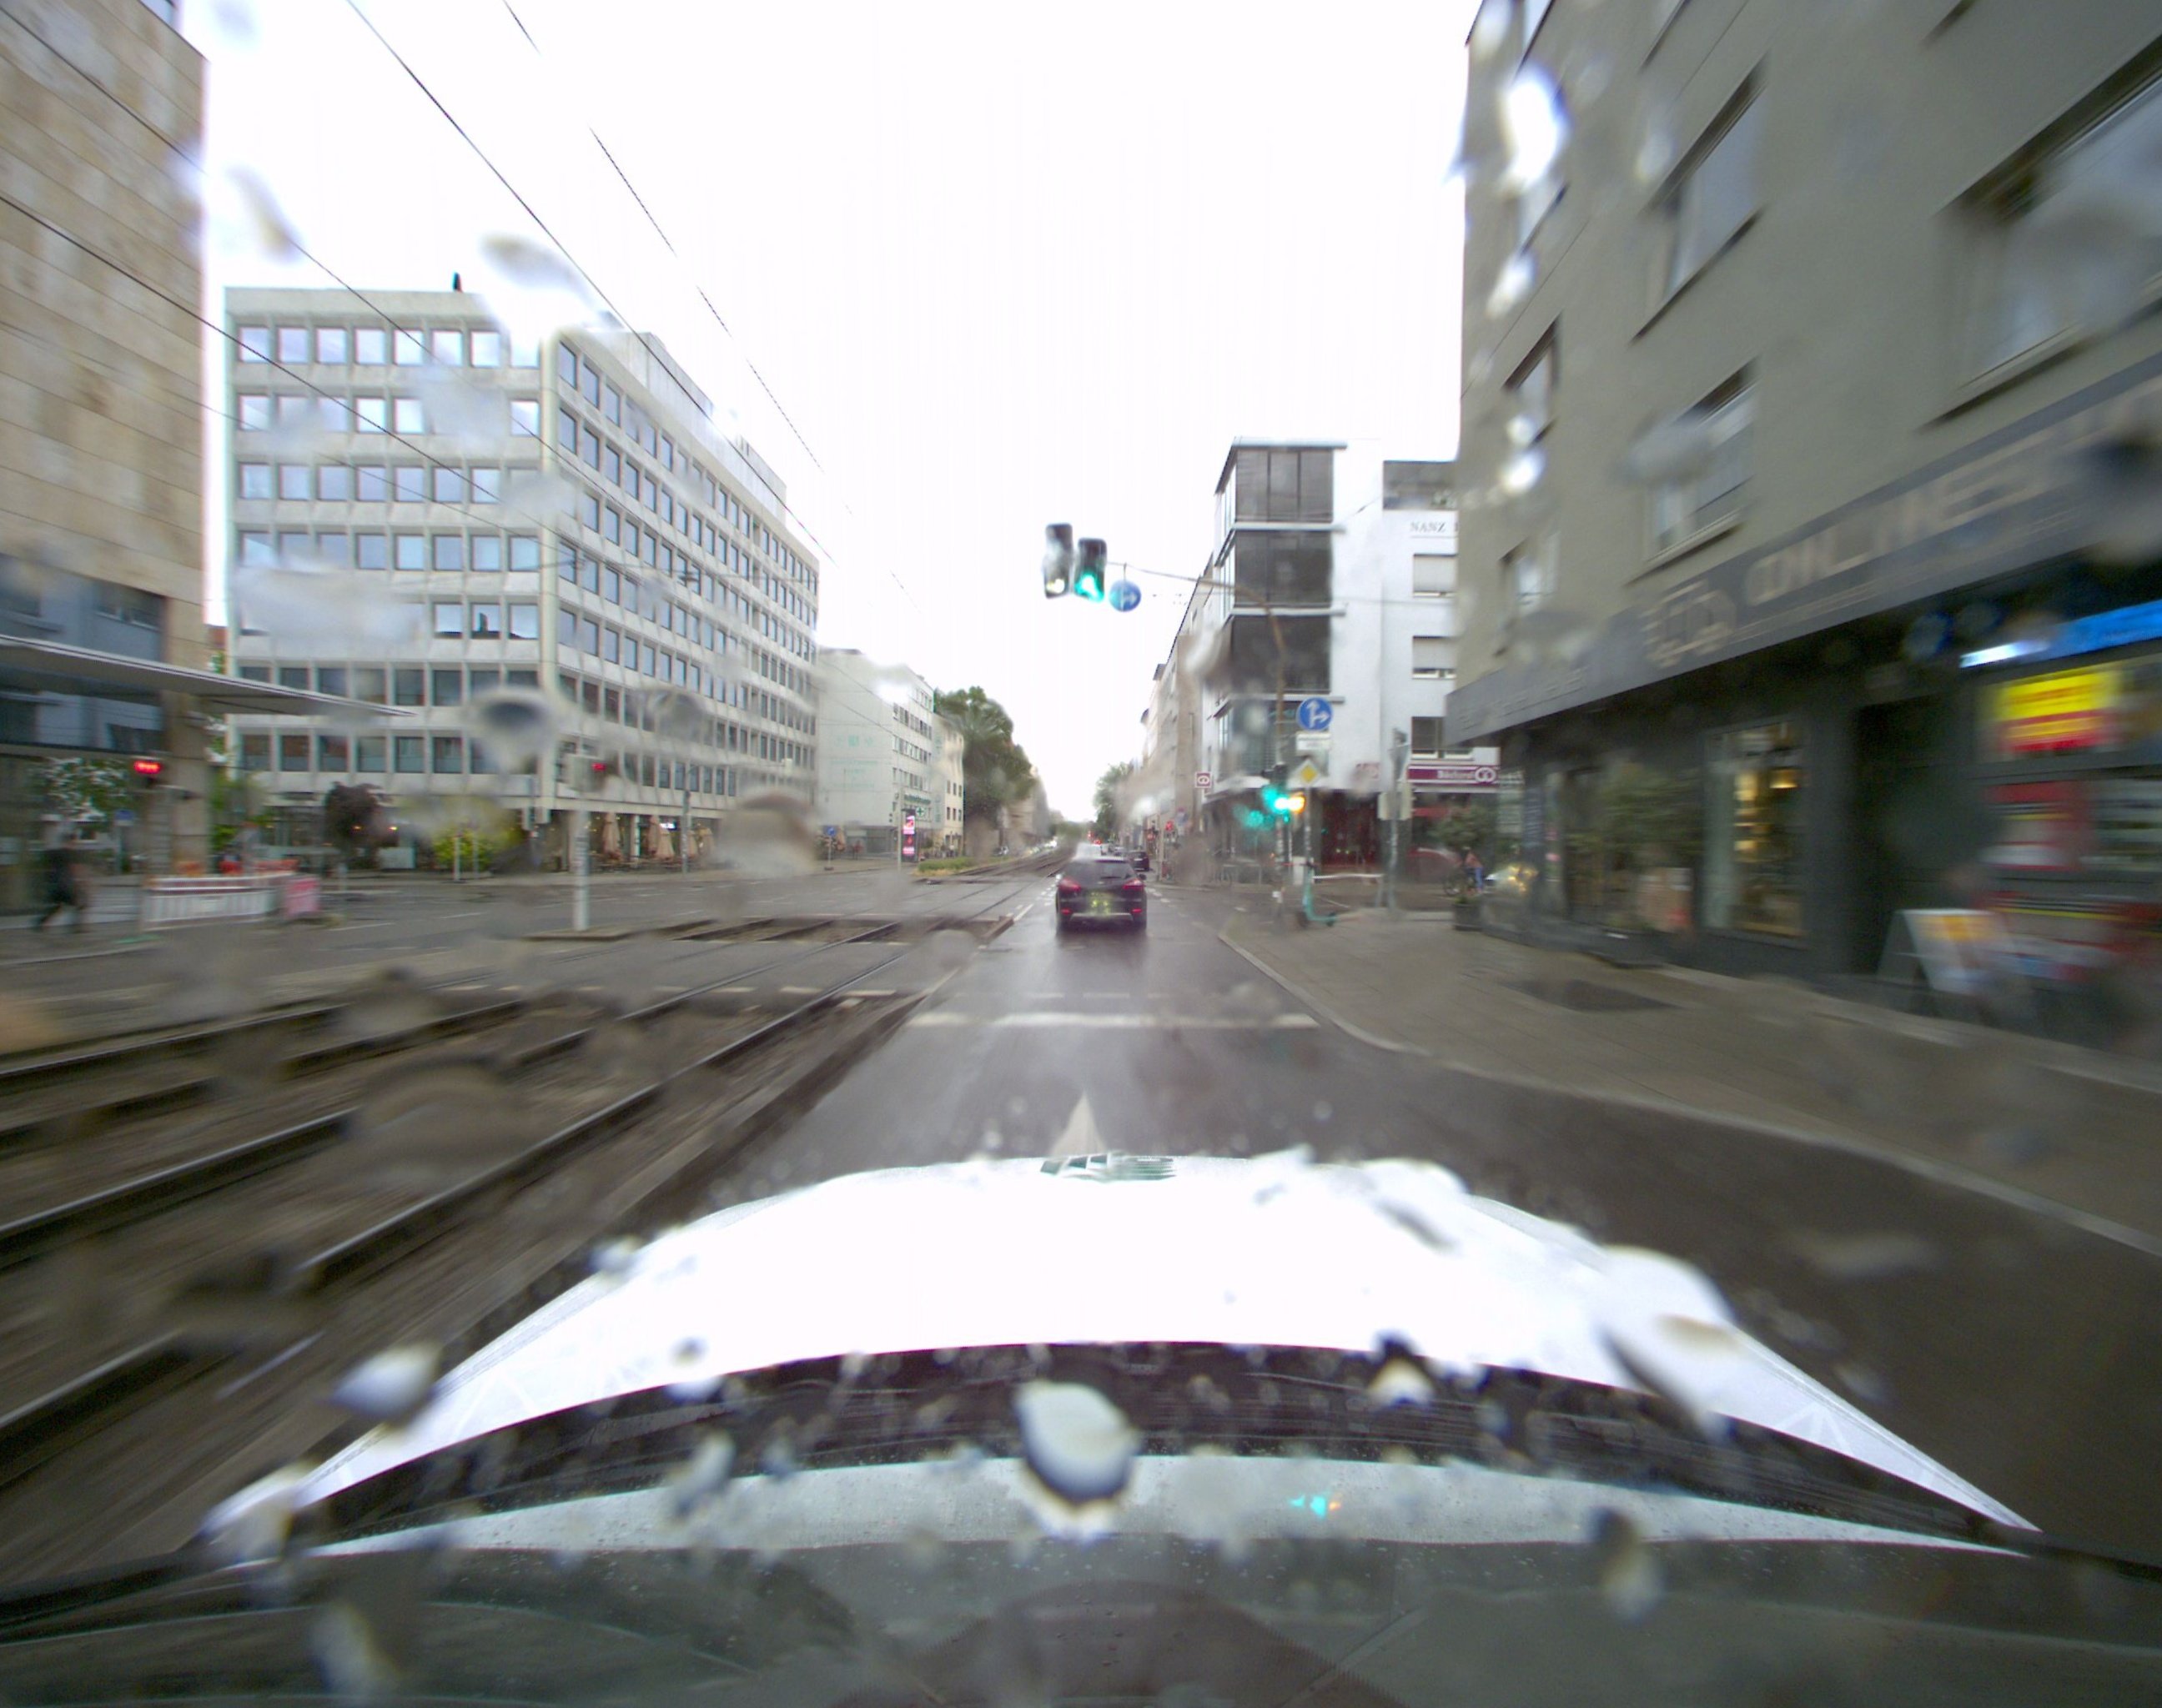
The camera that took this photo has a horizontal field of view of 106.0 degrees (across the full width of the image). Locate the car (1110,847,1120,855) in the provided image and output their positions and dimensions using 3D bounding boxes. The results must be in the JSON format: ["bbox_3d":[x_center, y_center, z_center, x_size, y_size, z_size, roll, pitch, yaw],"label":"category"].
[{"bbox_3d":[6.324,-0.547,152.353,1.733,1.489,4.001,0,1,0],"label":"car"}]

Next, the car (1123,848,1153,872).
[{"bbox_3d":[4.022,0.417,58.158,1.986,1.594,4.273,0,0,2],"label":"car"}]

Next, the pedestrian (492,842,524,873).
[{"bbox_3d":[-28.866,0.162,41.054,0.958,1.532,0.897,0,1,1],"label":"pedestrian"}]

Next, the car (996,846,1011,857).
[{"bbox_3d":[-11.154,-0.337,117.111,1.715,1.570,4.221,1,1,1],"label":"car"}]

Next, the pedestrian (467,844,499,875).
[{"bbox_3d":[-30.216,0.283,41.180,0.959,1.532,0.897,0,1,-1],"label":"pedestrian"}]

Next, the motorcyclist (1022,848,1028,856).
[{"bbox_3d":[-8.188,-0.265,119.298,0.738,1.217,0.971,1,0,3],"label":"motorcyclist"}]

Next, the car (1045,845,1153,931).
[{"bbox_3d":[0.405,0.633,17.224,1.986,1.594,4.273,0,0,2],"label":"car"}]

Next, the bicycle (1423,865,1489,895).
[{"bbox_3d":[12.980,0.893,28.217,1.920,1.010,0.755,0,0,-1],"label":"bicycle"}]

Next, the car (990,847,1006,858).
[{"bbox_3d":[-11.436,-0.202,112.166,1.737,1.468,4.221,-1,1,1],"label":"car"}]

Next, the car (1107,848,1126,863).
[{"bbox_3d":[3.918,0.115,89.631,1.986,1.594,4.573,0,0,2],"label":"car"}]

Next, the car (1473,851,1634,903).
[{"bbox_3d":[14.314,0.670,24.813,3.954,1.487,1.722,0,0,-1],"label":"car"}]

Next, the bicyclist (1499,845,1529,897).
[{"bbox_3d":[15.149,0.595,28.488,0.632,1.791,0.756,0,0,-1],"label":"bicyclist"}]

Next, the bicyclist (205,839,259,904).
[{"bbox_3d":[-23.916,0.480,22.952,0.706,1.804,0.784,1,1,1],"label":"bicyclist"}]

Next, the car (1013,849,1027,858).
[{"bbox_3d":[-10.898,-0.047,145.475,1.986,1.519,4.436,1,1,1],"label":"car"}]

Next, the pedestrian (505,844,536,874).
[{"bbox_3d":[-28.874,0.259,41.958,0.891,1.532,0.965,0,1,-1],"label":"pedestrian"}]

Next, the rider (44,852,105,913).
[{"bbox_3d":[-28.094,0.778,22.740,0.706,1.675,0.784,0,1,1],"label":"rider"}]

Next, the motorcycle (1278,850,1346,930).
[{"bbox_3d":[4.411,0.658,15.543,1.137,1.461,0.676,0,0,-35],"label":"motorcycle"}]

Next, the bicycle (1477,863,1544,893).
[{"bbox_3d":[14.994,0.827,28.477,1.974,1.010,0.755,0,0,-1],"label":"bicycle"}]

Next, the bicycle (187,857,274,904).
[{"bbox_3d":[-23.985,0.729,22.983,1.758,1.311,0.660,0,0,0],"label":"bicycle"}]

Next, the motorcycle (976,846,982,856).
[{"bbox_3d":[-15.413,-0.473,122.925,0.637,1.379,2.119,1,1,0],"label":"motorcycle"}]

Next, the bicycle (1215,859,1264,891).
[{"bbox_3d":[5.979,0.776,30.836,0.580,1.157,1.935,1,0,-35],"label":"bicycle"}]

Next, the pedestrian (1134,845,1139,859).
[{"bbox_3d":[7.781,-0.298,114.643,0.659,1.852,0.821,0,1,0],"label":"pedestrian"}]

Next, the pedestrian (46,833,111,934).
[{"bbox_3d":[-18.325,0.518,14.893,0.670,1.781,0.708,1,1,36],"label":"pedestrian"}]

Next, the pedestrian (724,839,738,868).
[{"bbox_3d":[-22.242,-0.034,51.782,0.563,1.822,0.843,1,0,-3],"label":"pedestrian"}]

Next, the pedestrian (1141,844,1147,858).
[{"bbox_3d":[8.842,-0.400,114.754,0.733,2.013,0.821,0,1,0],"label":"pedestrian"}]

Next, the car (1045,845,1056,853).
[{"bbox_3d":[-6.661,-1.121,178.442,1.986,1.519,4.445,1,-1,1],"label":"car"}]

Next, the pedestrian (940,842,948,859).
[{"bbox_3d":[-15.189,-0.402,90.255,0.724,1.896,0.983,1,0,1],"label":"pedestrian"}]

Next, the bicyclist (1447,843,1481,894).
[{"bbox_3d":[13.263,0.489,28.212,0.837,1.746,0.756,0,0,-1],"label":"bicyclist"}]

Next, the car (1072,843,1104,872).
[{"bbox_3d":[0.514,0.236,52.991,1.986,1.816,4.273,0,0,2],"label":"car"}]

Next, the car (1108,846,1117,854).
[{"bbox_3d":[6.055,-0.796,157.121,1.637,1.515,4.039,0,1,0],"label":"car"}]

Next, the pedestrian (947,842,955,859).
[{"bbox_3d":[-14.361,-0.410,90.091,0.676,1.896,0.743,1,0,1],"label":"pedestrian"}]

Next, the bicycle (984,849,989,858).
[{"bbox_3d":[-12.736,-0.113,109.355,0.590,1.226,2.399,1,0,-6],"label":"bicycle"}]

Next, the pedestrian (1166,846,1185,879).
[{"bbox_3d":[4.696,0.417,40.450,0.662,1.582,0.774,0,0,-21],"label":"pedestrian"}]

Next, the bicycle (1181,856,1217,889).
[{"bbox_3d":[4.733,0.711,32.718,0.499,1.259,1.941,1,0,-23],"label":"bicycle"}]

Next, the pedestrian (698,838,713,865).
[{"bbox_3d":[-24.186,-0.153,52.439,0.563,1.748,0.843,1,0,-3],"label":"pedestrian"}]
